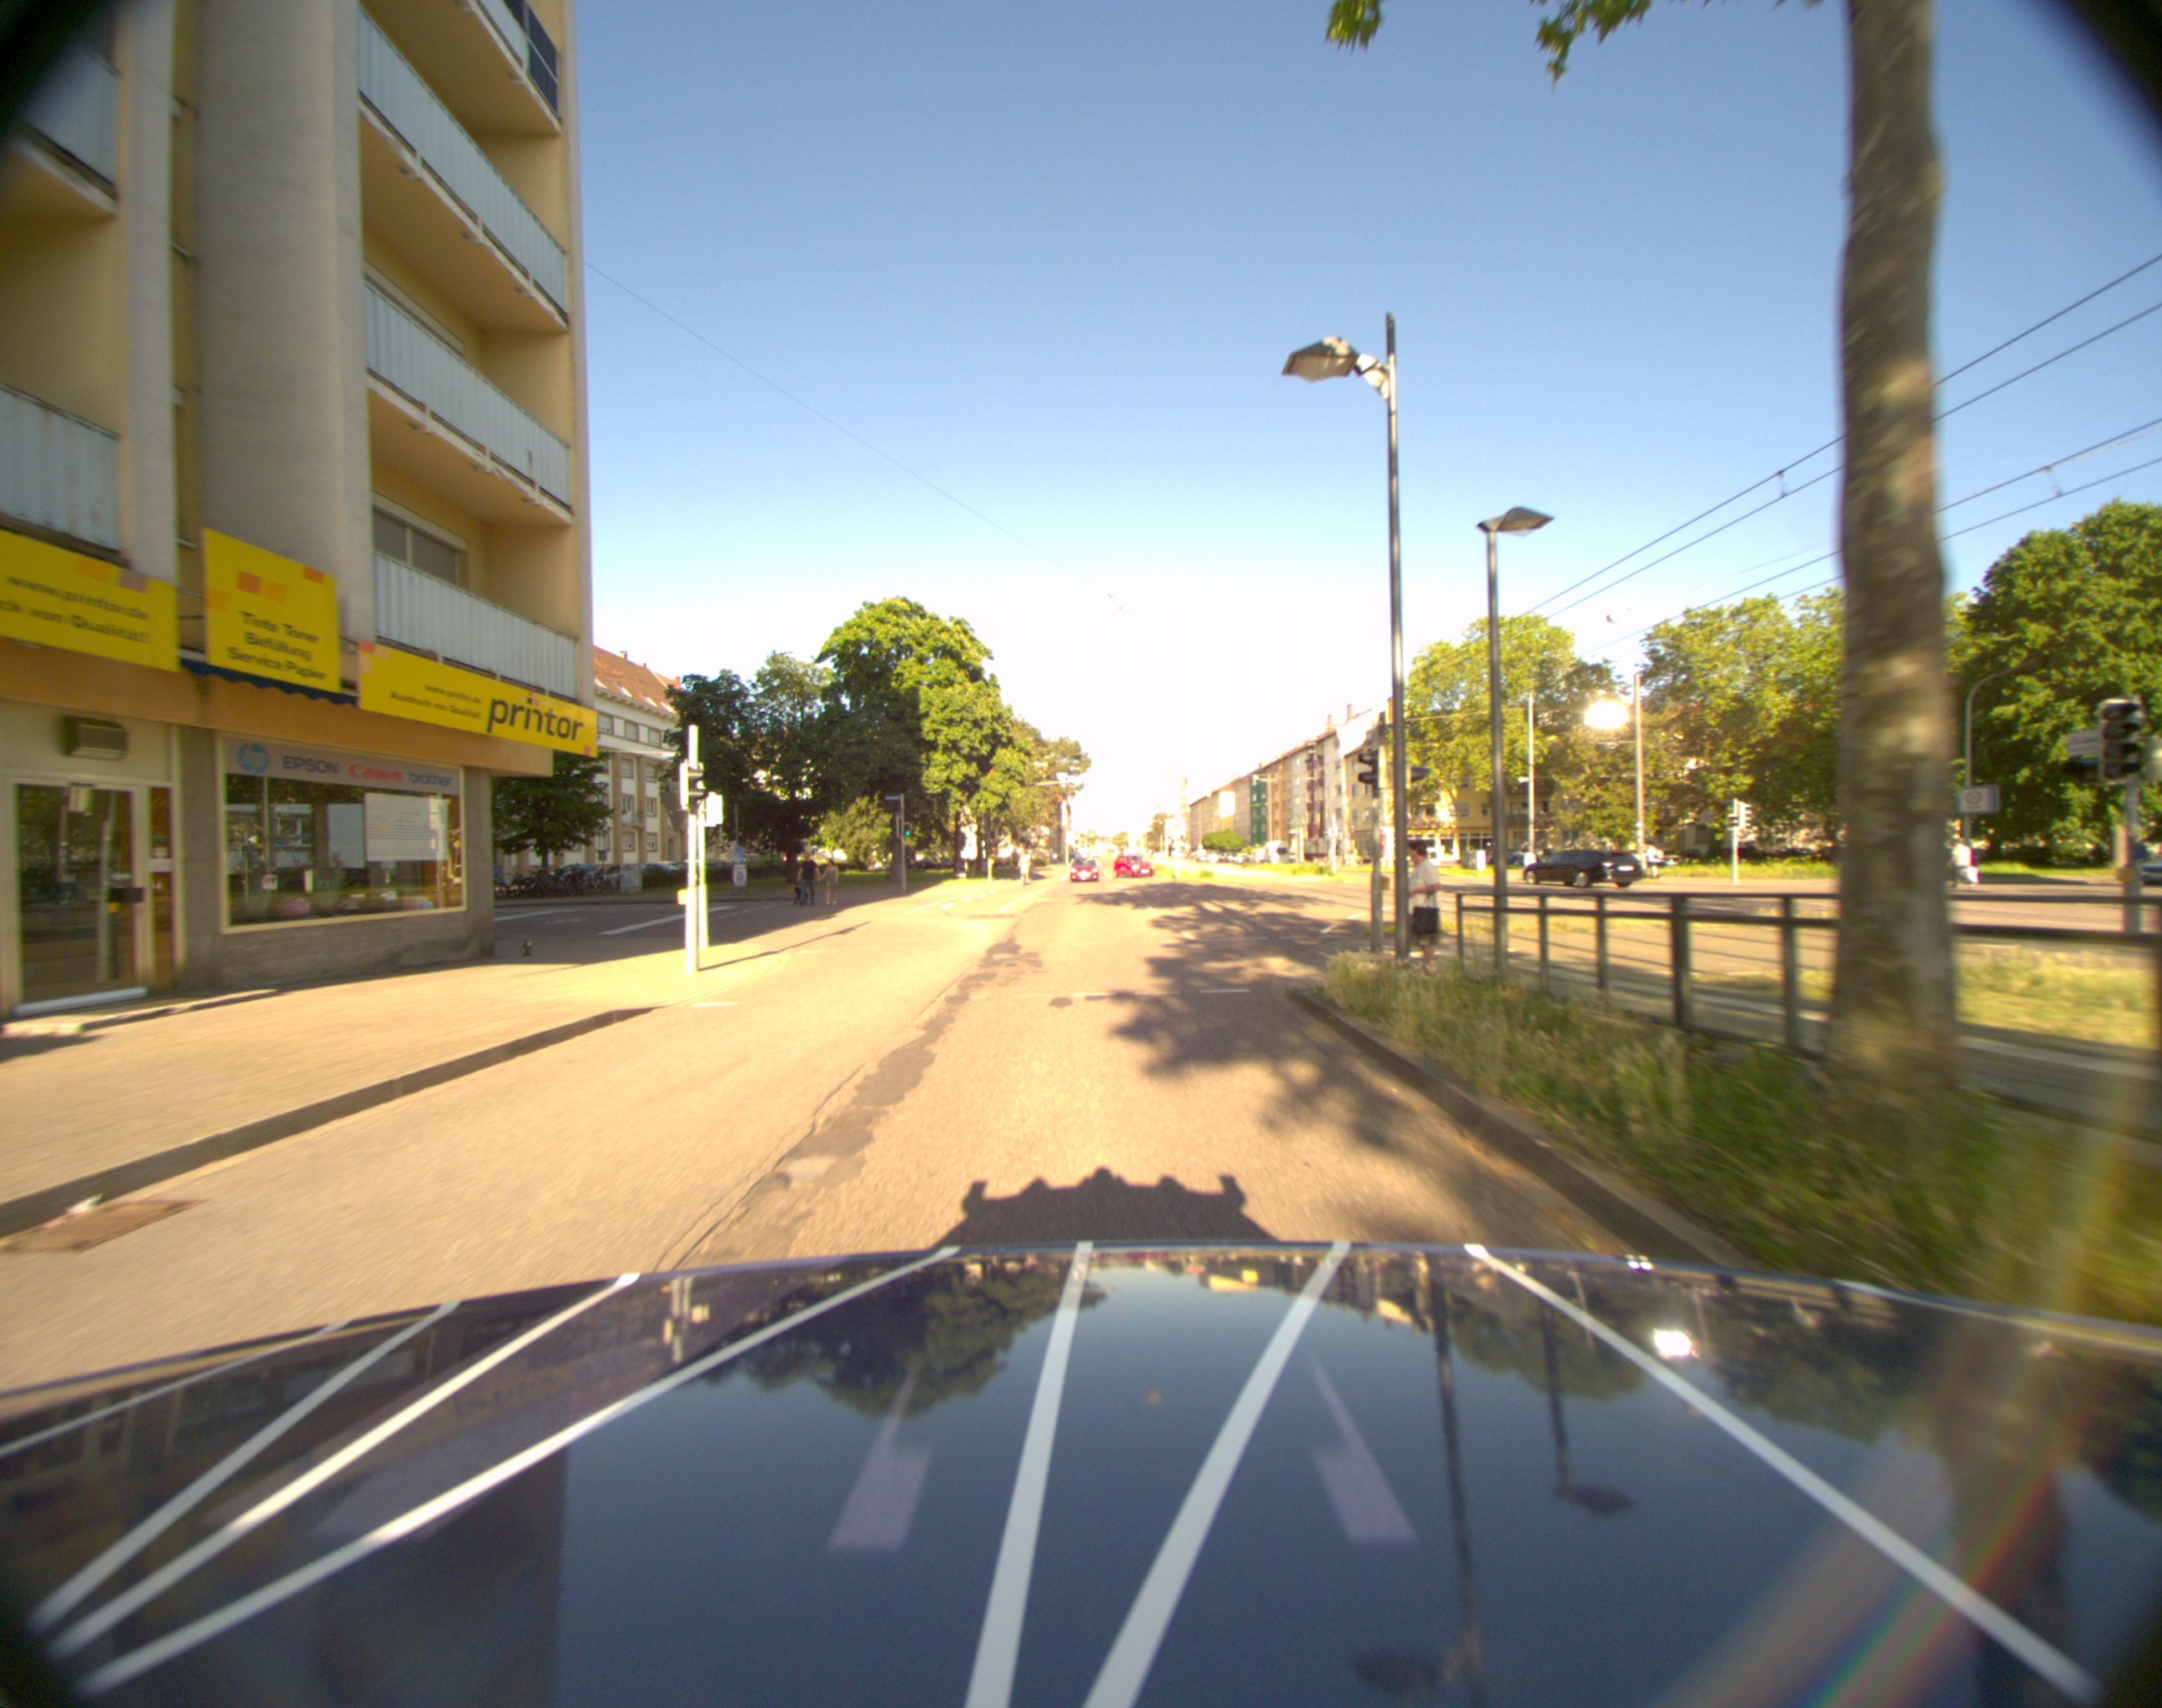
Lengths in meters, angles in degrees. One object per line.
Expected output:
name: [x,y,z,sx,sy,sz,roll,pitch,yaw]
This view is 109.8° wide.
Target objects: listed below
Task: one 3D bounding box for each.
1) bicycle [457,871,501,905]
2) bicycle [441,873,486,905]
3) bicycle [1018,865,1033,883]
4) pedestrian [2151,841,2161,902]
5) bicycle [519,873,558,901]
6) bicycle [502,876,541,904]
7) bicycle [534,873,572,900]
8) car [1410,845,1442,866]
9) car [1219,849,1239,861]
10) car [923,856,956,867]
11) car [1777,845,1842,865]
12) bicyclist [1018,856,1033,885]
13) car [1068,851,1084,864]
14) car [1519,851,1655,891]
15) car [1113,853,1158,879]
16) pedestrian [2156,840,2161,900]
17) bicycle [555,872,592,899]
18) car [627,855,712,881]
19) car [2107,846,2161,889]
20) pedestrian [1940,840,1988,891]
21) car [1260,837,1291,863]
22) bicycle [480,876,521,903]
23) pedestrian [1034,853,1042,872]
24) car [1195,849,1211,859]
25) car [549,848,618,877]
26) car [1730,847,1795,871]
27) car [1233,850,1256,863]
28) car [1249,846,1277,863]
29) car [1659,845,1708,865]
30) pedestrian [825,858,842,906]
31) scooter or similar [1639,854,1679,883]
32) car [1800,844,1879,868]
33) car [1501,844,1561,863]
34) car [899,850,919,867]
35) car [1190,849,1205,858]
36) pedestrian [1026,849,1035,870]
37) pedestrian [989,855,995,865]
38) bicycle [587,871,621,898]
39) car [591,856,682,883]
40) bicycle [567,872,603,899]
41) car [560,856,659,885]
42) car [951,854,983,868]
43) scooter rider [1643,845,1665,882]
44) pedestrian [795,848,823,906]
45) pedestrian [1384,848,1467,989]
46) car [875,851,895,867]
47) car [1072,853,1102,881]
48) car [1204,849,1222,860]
bicycle: [-25.974,1.456,32.832,0.433,1.379,1.829,-1,0,-1]
bicycle: [-26.613,1.476,32.769,0.433,1.278,1.829,-1,0,-1]
bicycle: [-2.891,1.037,39.670,0.684,0.925,1.736,-1,0,0]
pedestrian: [29.997,0.487,20.715,0.596,1.672,0.747,-1,1,-5]
bicycle: [-23.407,1.411,32.821,0.365,1.088,1.829,-1,0,-1]
bicycle: [-24.171,1.535,32.857,0.365,1.088,1.829,-1,0,-1]
bicycle: [-22.820,1.394,32.882,0.365,1.088,1.829,-1,0,-1]
car: [32.236,0.127,71.104,1.909,1.871,4.003,-1,0,12]
car: [22.192,0.152,114.180,2.144,1.697,5.446,-1,0,1]
car: [-14.765,0.803,79.519,1.997,1.060,4.280,-1,0,10]
car: [58.250,0.057,60.816,1.996,1.543,3.938,-1,1,12]
bicyclist: [-2.888,0.856,39.617,0.678,1.466,0.936,-1,1,0]
car: [-0.671,0.467,105.387,1.998,1.806,4.000,-2,0,0]
car: [19.509,0.607,29.581,1.956,1.433,4.526,-1,0,-6]
car: [3.459,0.723,48.888,1.545,1.522,3.597,-3,1,-19]
pedestrian: [31.078,0.442,21.303,0.596,1.713,0.880,-1,1,-5]
bicycle: [-22.005,1.369,32.968,0.365,1.088,1.829,-1,0,-1]
car: [-24.726,0.823,45.771,3.996,1.440,2.000,-1,1,2]
car: [39.415,0.433,26.490,4.525,1.478,2.000,-1,0,1]
pedestrian: [29.903,0.388,25.737,0.596,1.686,0.880,-1,1,-5]
car: [21.778,-0.444,85.289,2.230,2.808,5.229,-1,0,1]
bicycle: [-25.062,1.511,32.850,0.365,1.088,1.829,-1,0,-1]
pedestrian: [-3.486,0.673,61.423,0.596,1.518,0.633,-1,1,-9]
car: [22.890,0.000,142.768,2.144,1.697,5.402,-1,0,1]
car: [-33.341,0.512,51.027,1.999,1.833,3.999,-1,0,-1]
car: [51.538,0.346,57.574,1.996,1.695,3.938,-1,0,12]
car: [22.371,0.272,104.149,2.144,1.697,5.157,-1,0,1]
car: [22.095,0.015,92.479,2.144,2.022,5.157,-1,0,1]
car: [51.100,0.046,64.522,1.674,1.598,3.938,-1,0,12]
pedestrian: [-8.119,0.918,24.944,0.505,1.537,0.518,1,2,-16]
scooter or similar: [26.786,0.668,35.256,0.598,1.302,1.540,-1,0,-4]
car: [51.716,0.106,51.925,1.996,1.543,3.938,-1,0,12]
car: [36.444,-0.046,61.613,3.990,1.429,1.720,0,1,24]
car: [-18.450,0.470,81.466,2.001,1.689,4.272,-1,0,-12]
car: [22.970,-0.042,149.702,2.144,1.697,5.402,-1,0,1]
pedestrian: [-4.148,0.460,62.011,0.567,1.688,0.595,-1,1,-17]
pedestrian: [-9.293,0.646,79.400,0.459,1.072,0.613,-1,1,0]
bicycle: [-20.773,1.331,33.124,0.365,1.088,1.829,-1,0,-1]
car: [-25.265,0.850,43.280,3.996,1.440,2.000,-1,1,2]
bicycle: [-21.520,1.354,33.002,0.365,1.088,1.829,-1,0,-1]
car: [-25.186,0.859,40.688,3.996,1.440,2.000,-1,1,2]
car: [-11.892,0.691,79.211,1.997,1.316,4.280,-1,0,10]
scooter rider: [26.765,0.434,35.485,0.596,1.686,0.573,-1,1,-5]
pedestrian: [-8.822,0.742,24.698,0.790,1.817,1.032,1,1,-16]
pedestrian: [3.863,0.695,8.543,0.660,1.520,0.538,-1,1,-6]
car: [-21.276,0.549,82.399,2.001,1.689,4.271,-1,0,-16]
car: [0.372,0.728,44.196,1.619,1.537,4.277,-1,0,2]
car: [22.480,0.074,129.616,2.144,1.697,5.446,-1,0,1]
